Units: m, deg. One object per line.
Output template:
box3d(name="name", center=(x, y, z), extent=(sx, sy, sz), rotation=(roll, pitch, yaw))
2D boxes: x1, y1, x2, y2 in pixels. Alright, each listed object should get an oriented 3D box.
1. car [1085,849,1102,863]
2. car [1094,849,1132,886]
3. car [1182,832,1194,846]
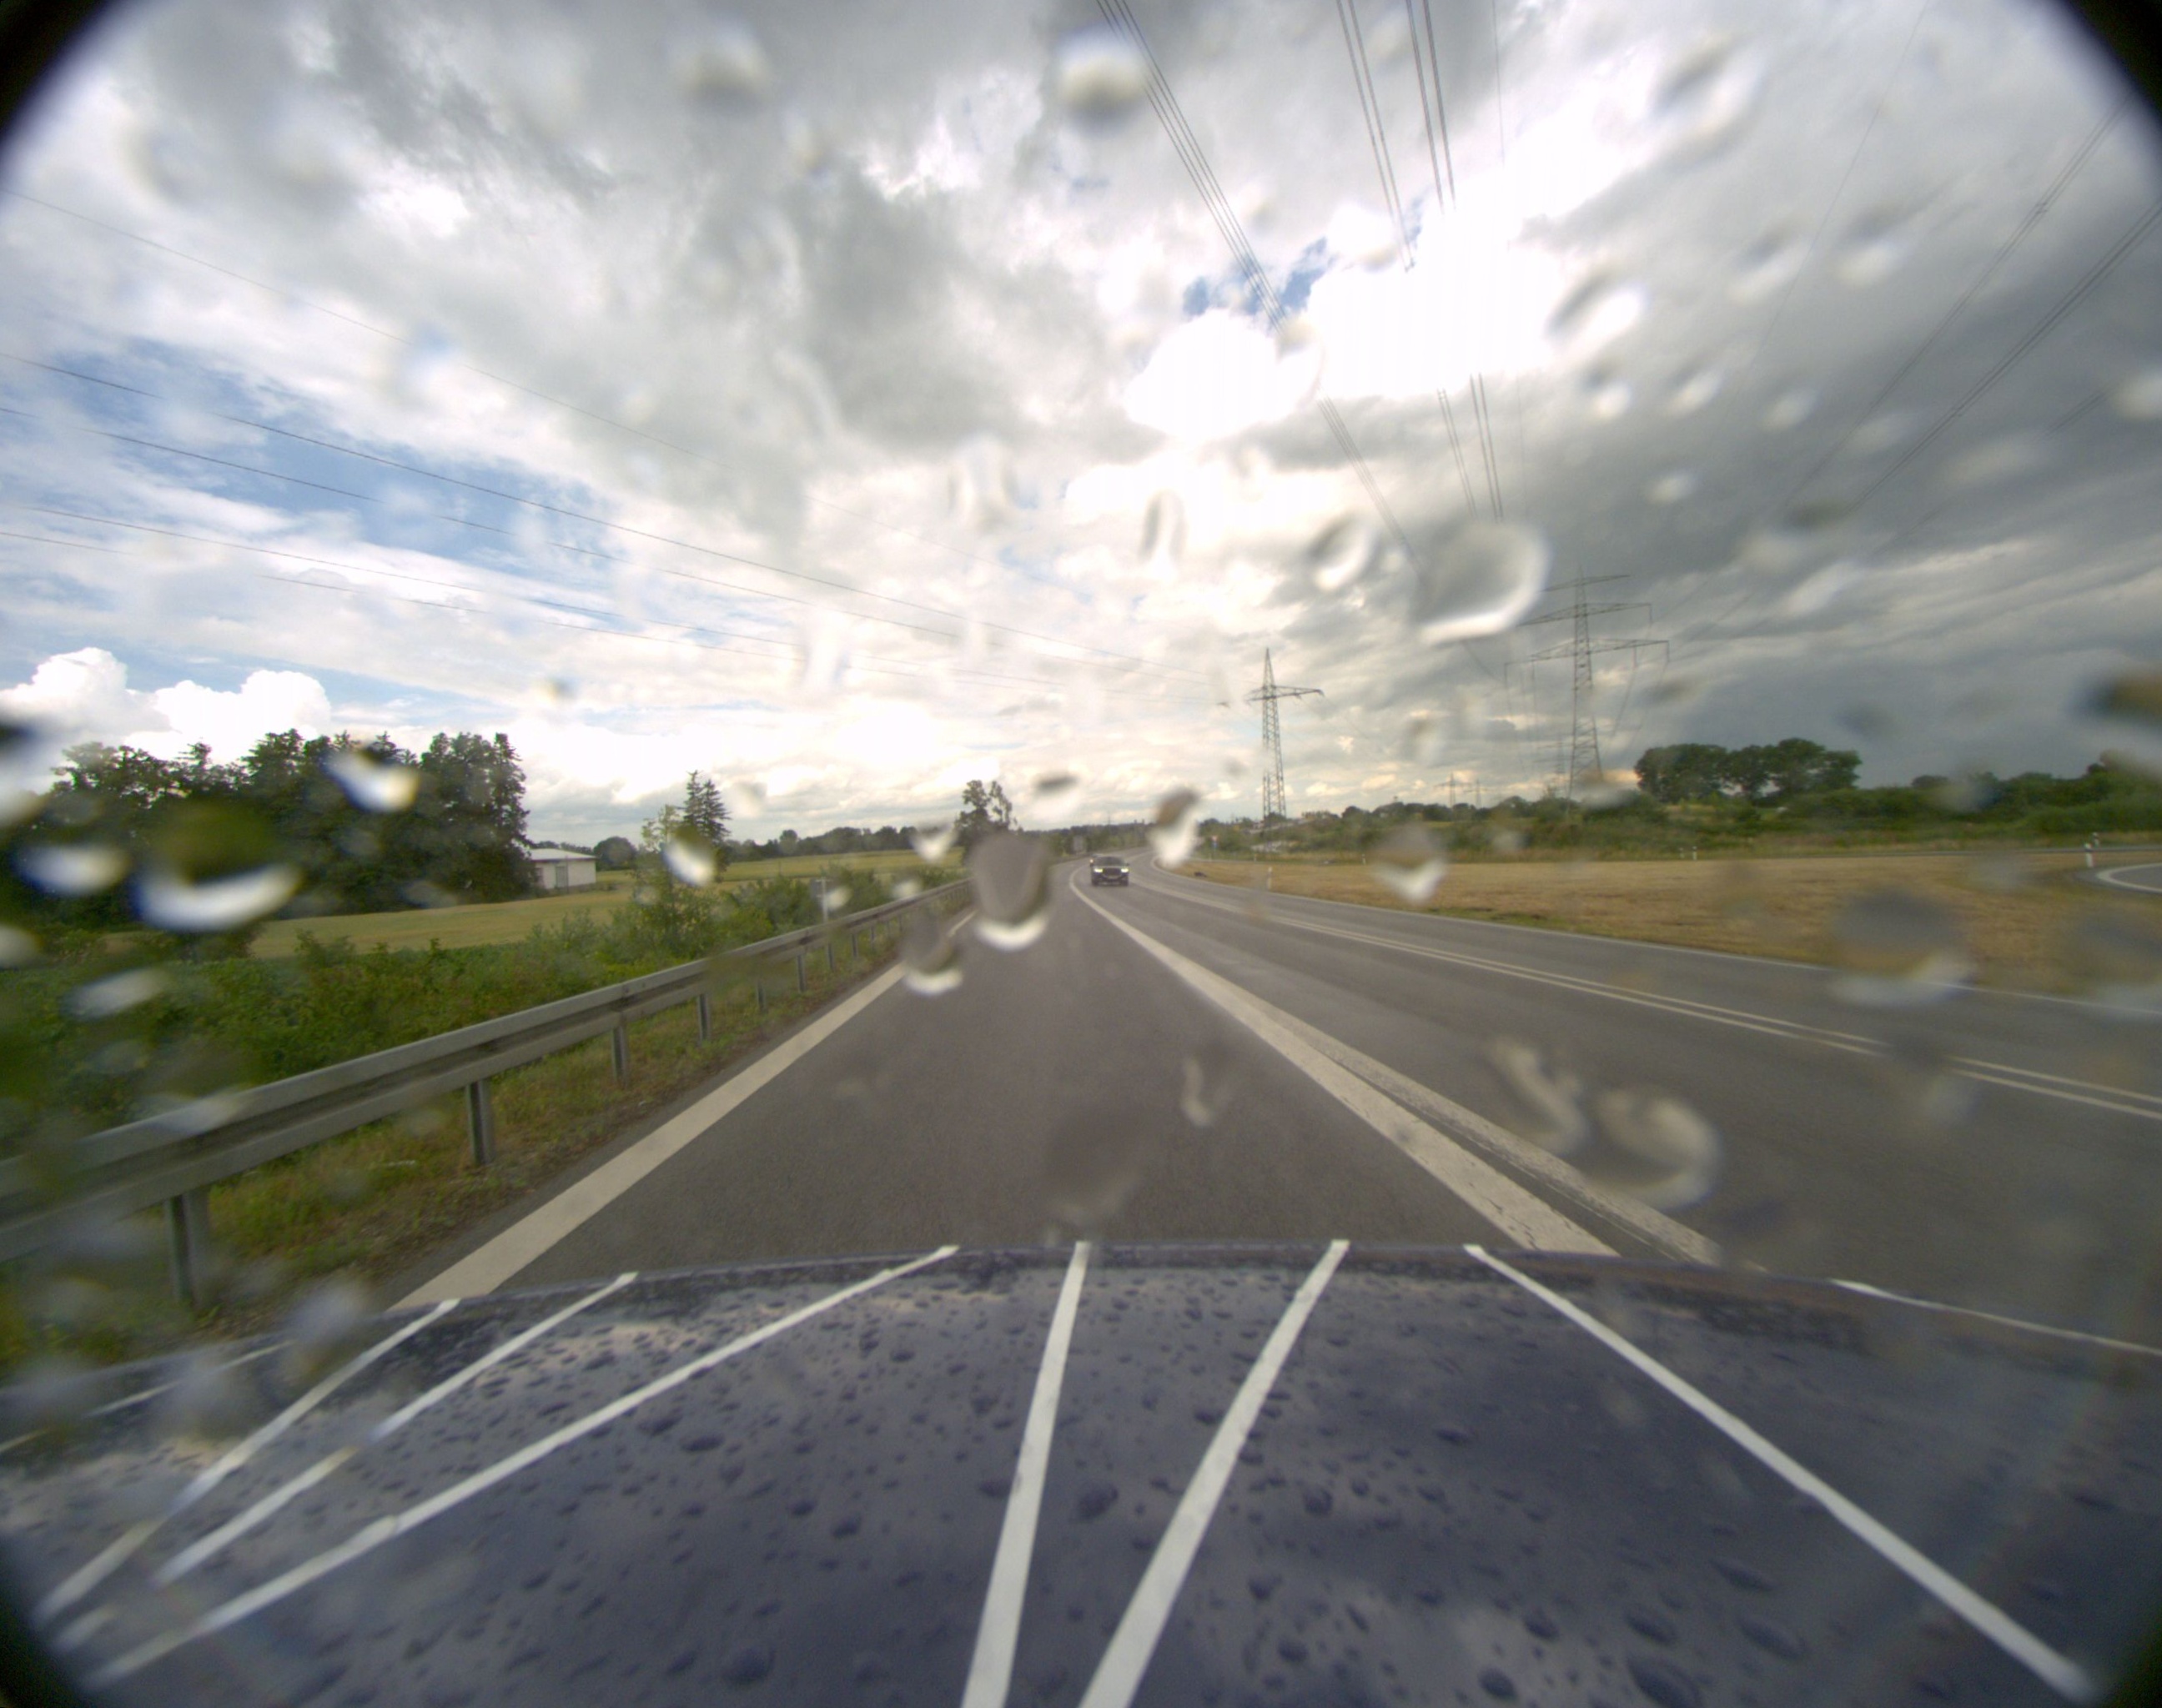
box3d(name="car", center=(1.454, 0.223, 86.348), extent=(1.748, 1.488, 4.050), rotation=(-2, 2, 3))
box3d(name="car", center=(1.669, 0.700, 41.411), extent=(1.796, 1.759, 3.998), rotation=(-2, 2, -1))
box3d(name="car", center=(25.791, -3.645, 182.794), extent=(2.210, 2.735, 6.023), rotation=(-3, 4, 13))
